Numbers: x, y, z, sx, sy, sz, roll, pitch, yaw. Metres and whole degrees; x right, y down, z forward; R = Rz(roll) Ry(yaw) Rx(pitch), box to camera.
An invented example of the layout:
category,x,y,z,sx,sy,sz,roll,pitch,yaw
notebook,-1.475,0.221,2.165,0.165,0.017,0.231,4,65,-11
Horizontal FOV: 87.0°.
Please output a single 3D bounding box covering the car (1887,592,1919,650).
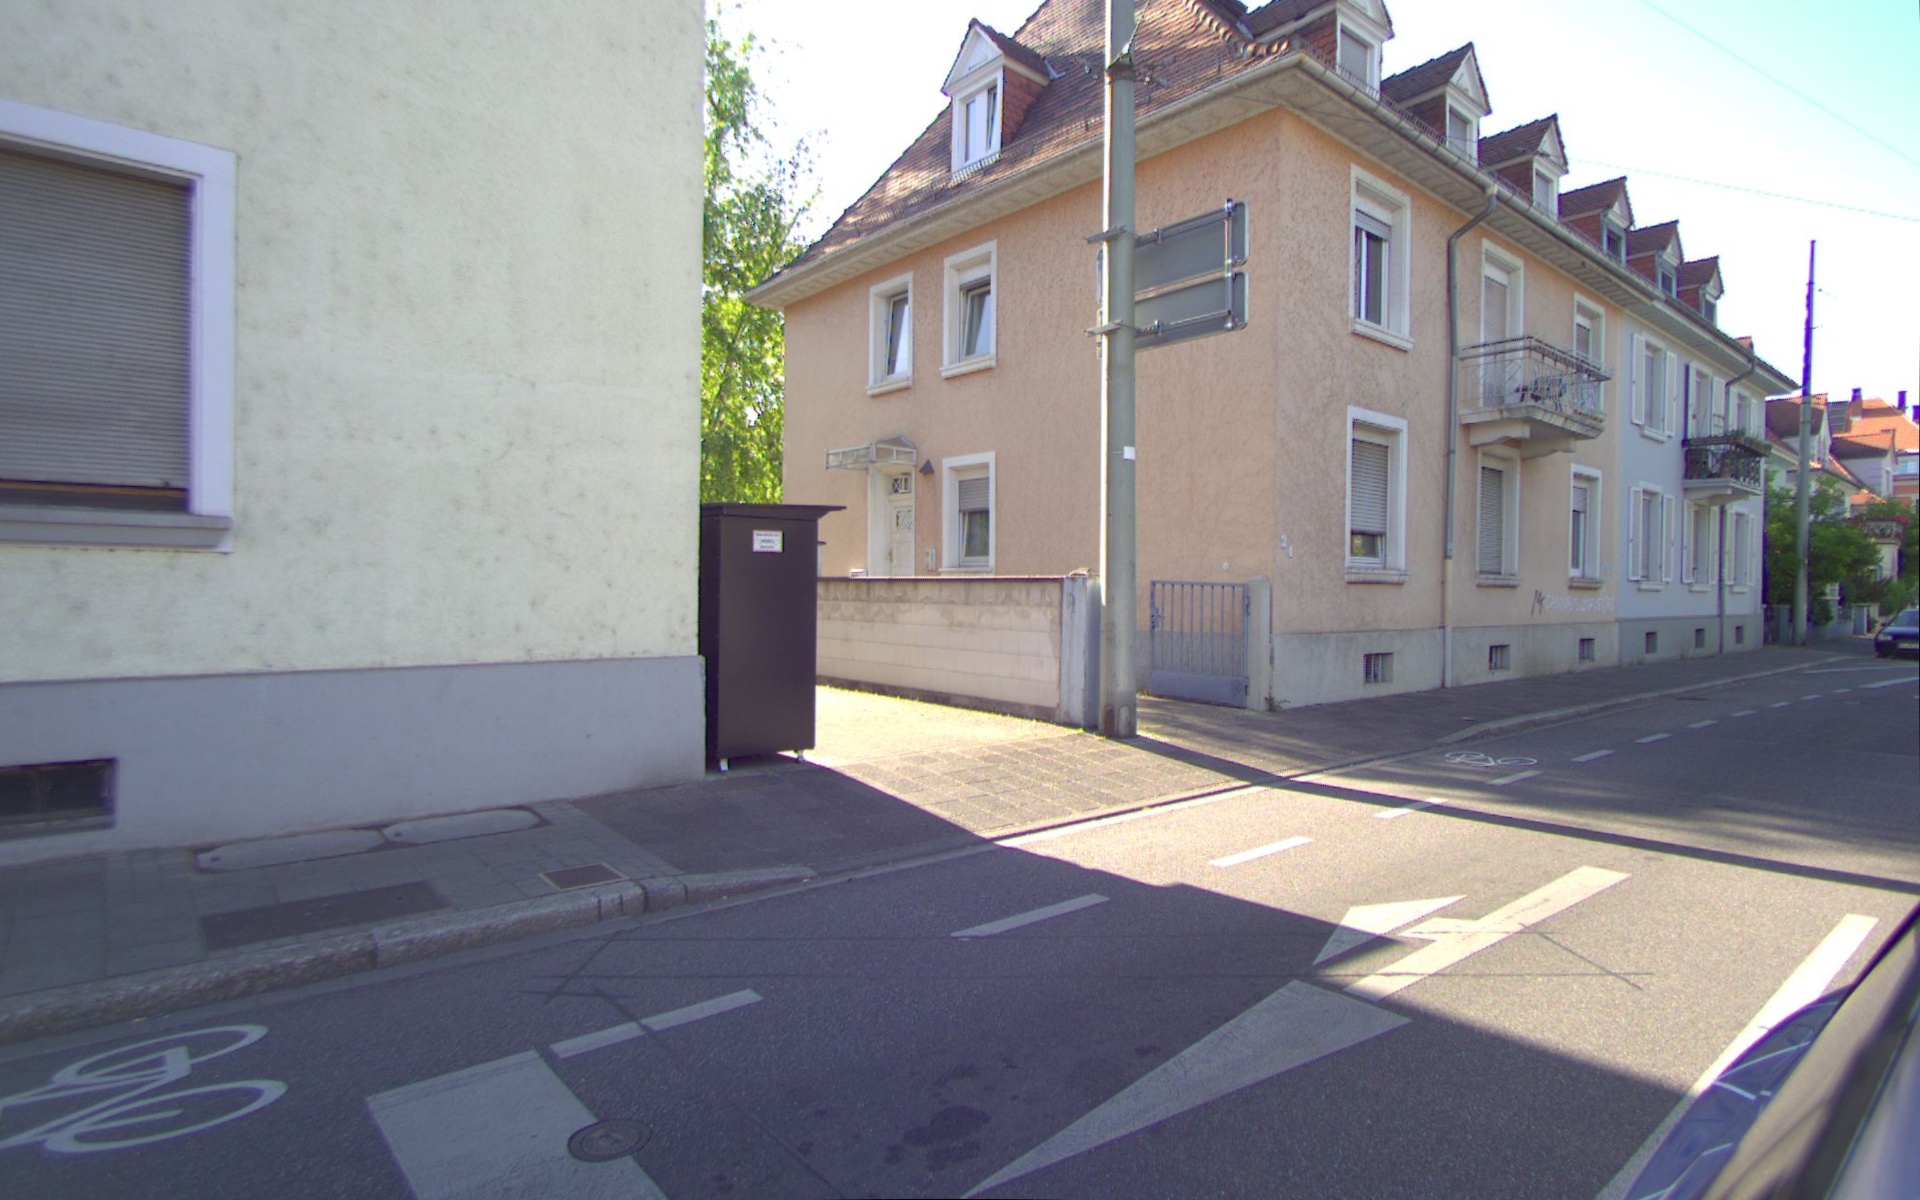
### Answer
category,x,y,z,sx,sy,sz,roll,pitch,yaw
car,26.857,0.565,27.393,3.925,1.504,1.883,0,1,-37
